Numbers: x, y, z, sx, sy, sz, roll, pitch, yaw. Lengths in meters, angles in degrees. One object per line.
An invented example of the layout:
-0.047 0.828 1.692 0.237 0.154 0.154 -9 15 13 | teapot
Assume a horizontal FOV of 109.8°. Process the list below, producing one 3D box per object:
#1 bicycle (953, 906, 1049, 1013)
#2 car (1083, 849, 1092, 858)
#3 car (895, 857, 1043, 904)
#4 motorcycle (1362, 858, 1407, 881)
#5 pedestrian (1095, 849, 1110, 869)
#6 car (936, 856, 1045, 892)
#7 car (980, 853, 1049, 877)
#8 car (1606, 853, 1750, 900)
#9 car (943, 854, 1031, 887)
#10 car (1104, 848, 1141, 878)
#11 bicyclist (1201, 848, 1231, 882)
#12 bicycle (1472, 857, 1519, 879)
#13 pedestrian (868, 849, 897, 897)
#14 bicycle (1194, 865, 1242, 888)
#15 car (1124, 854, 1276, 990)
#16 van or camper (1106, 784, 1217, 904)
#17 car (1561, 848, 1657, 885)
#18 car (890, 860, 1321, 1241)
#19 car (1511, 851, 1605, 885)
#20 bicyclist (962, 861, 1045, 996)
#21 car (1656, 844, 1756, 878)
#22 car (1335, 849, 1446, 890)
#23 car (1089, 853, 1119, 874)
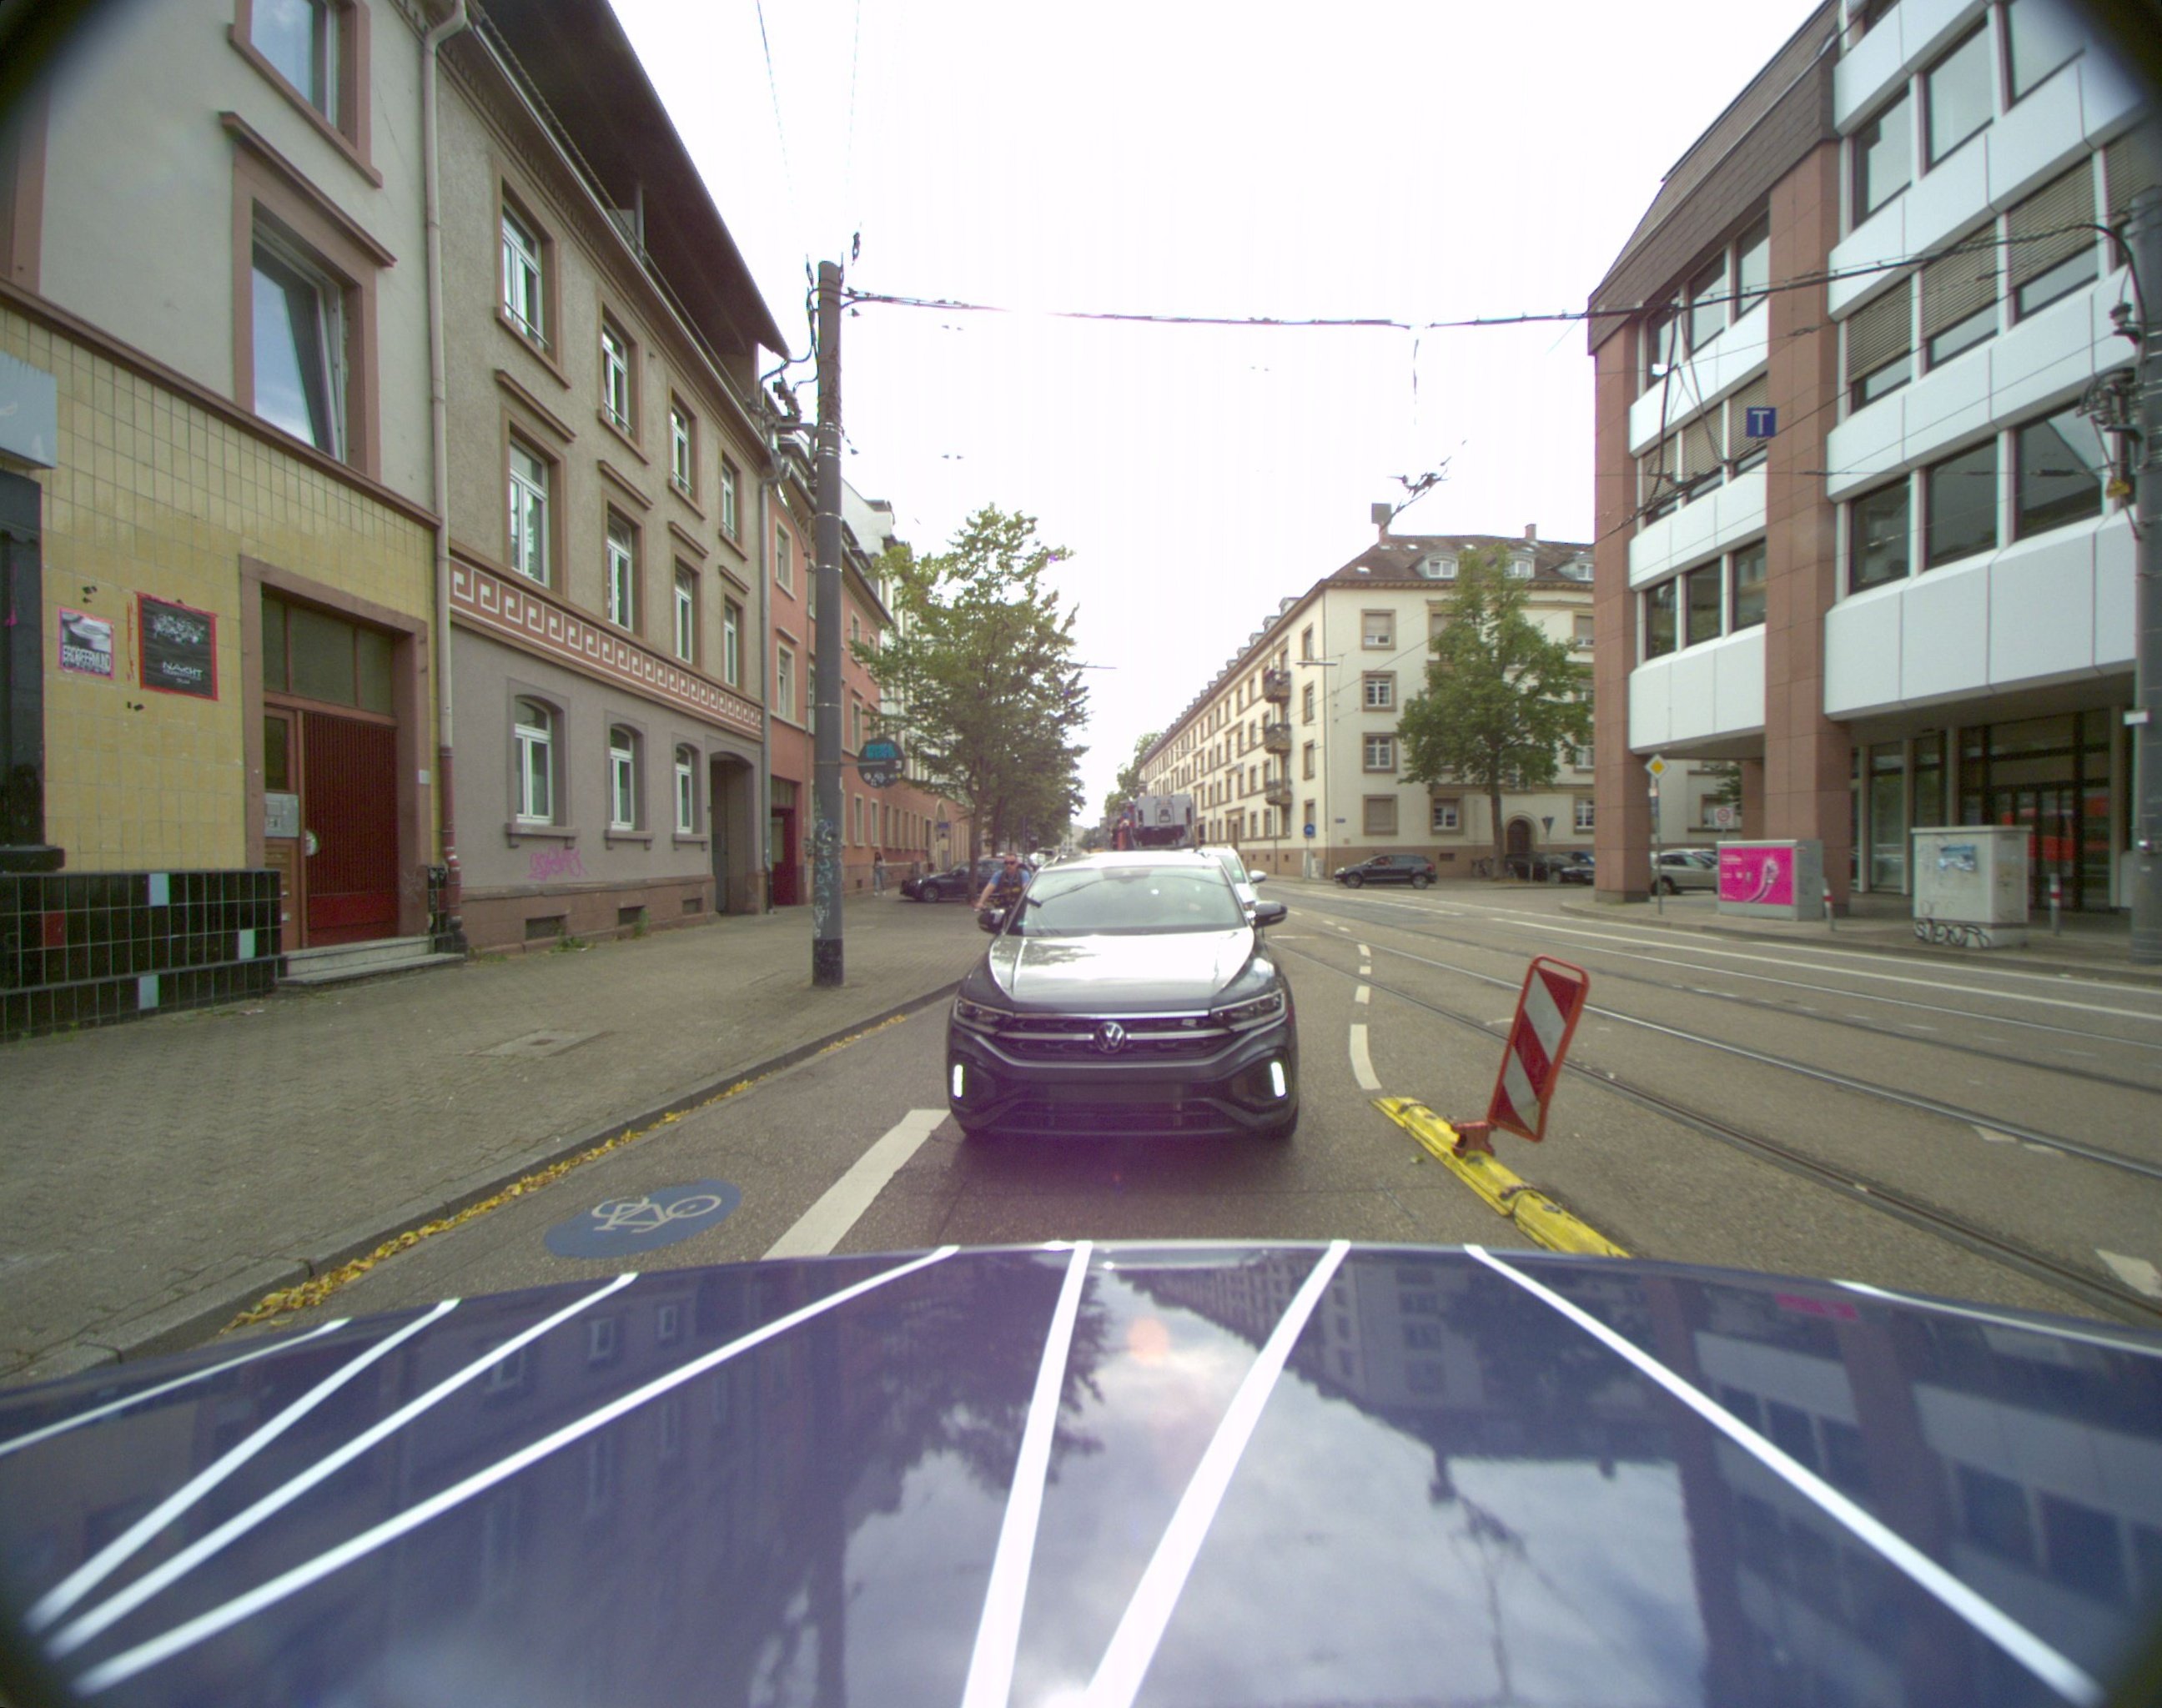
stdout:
-0.902 1.199 9.066 0.714 1.012 1.801 -2 0 7 | bicycle
1.295 -0.009 157.014 1.899 1.806 4.000 -1 0 0 | car
-3.787 0.876 25.716 4.635 1.464 1.786 1 0 -24 | car
15.293 0.774 38.284 1.924 1.080 0.793 -1 0 -1 | motorcycle
1.961 0.480 69.167 1.016 1.831 1.003 0 1 40 | pedestrian
-3.901 0.847 32.790 4.351 1.471 1.786 1 0 -24 | car
-4.854 0.840 55.343 4.635 1.688 1.913 1 0 -24 | car
19.182 0.695 24.469 3.650 1.380 1.611 -1 0 -9 | car
-4.946 0.851 39.926 4.245 1.688 1.736 1 0 -24 | car
2.365 0.507 44.442 1.998 1.698 4.053 -1 0 1 | car
5.904 0.489 33.199 1.257 1.453 0.678 -1 0 14 | bicyclist
20.989 0.687 38.503 1.924 1.080 0.793 -1 0 -1 | bicycle
-7.272 0.688 27.843 0.732 1.678 0.926 3 0 -1 | pedestrian
5.990 0.985 33.178 2.008 0.959 0.674 -1 -1 14 | bicycle
1.610 0.834 11.354 1.773 1.582 4.283 -2 0 4 | car
2.485 -0.283 26.650 2.607 3.401 9.651 -1 0 -1 | van or camper
23.549 0.529 34.028 1.611 1.538 3.715 -1 0 -3 | car
0.258 0.868 5.354 1.773 1.538 4.283 -2 0 5 | car
21.121 0.589 33.842 1.611 1.388 3.874 -1 0 -3 | car
-0.899 0.849 9.041 0.715 1.498 0.919 -3 0 7 | bicyclist
28.485 0.303 34.755 1.592 1.454 3.524 -1 0 -3 | car
12.526 0.635 30.979 4.040 1.528 1.777 -2 0 21 | car
1.612 0.668 54.803 1.911 1.478 3.999 -1 0 -2 | car
